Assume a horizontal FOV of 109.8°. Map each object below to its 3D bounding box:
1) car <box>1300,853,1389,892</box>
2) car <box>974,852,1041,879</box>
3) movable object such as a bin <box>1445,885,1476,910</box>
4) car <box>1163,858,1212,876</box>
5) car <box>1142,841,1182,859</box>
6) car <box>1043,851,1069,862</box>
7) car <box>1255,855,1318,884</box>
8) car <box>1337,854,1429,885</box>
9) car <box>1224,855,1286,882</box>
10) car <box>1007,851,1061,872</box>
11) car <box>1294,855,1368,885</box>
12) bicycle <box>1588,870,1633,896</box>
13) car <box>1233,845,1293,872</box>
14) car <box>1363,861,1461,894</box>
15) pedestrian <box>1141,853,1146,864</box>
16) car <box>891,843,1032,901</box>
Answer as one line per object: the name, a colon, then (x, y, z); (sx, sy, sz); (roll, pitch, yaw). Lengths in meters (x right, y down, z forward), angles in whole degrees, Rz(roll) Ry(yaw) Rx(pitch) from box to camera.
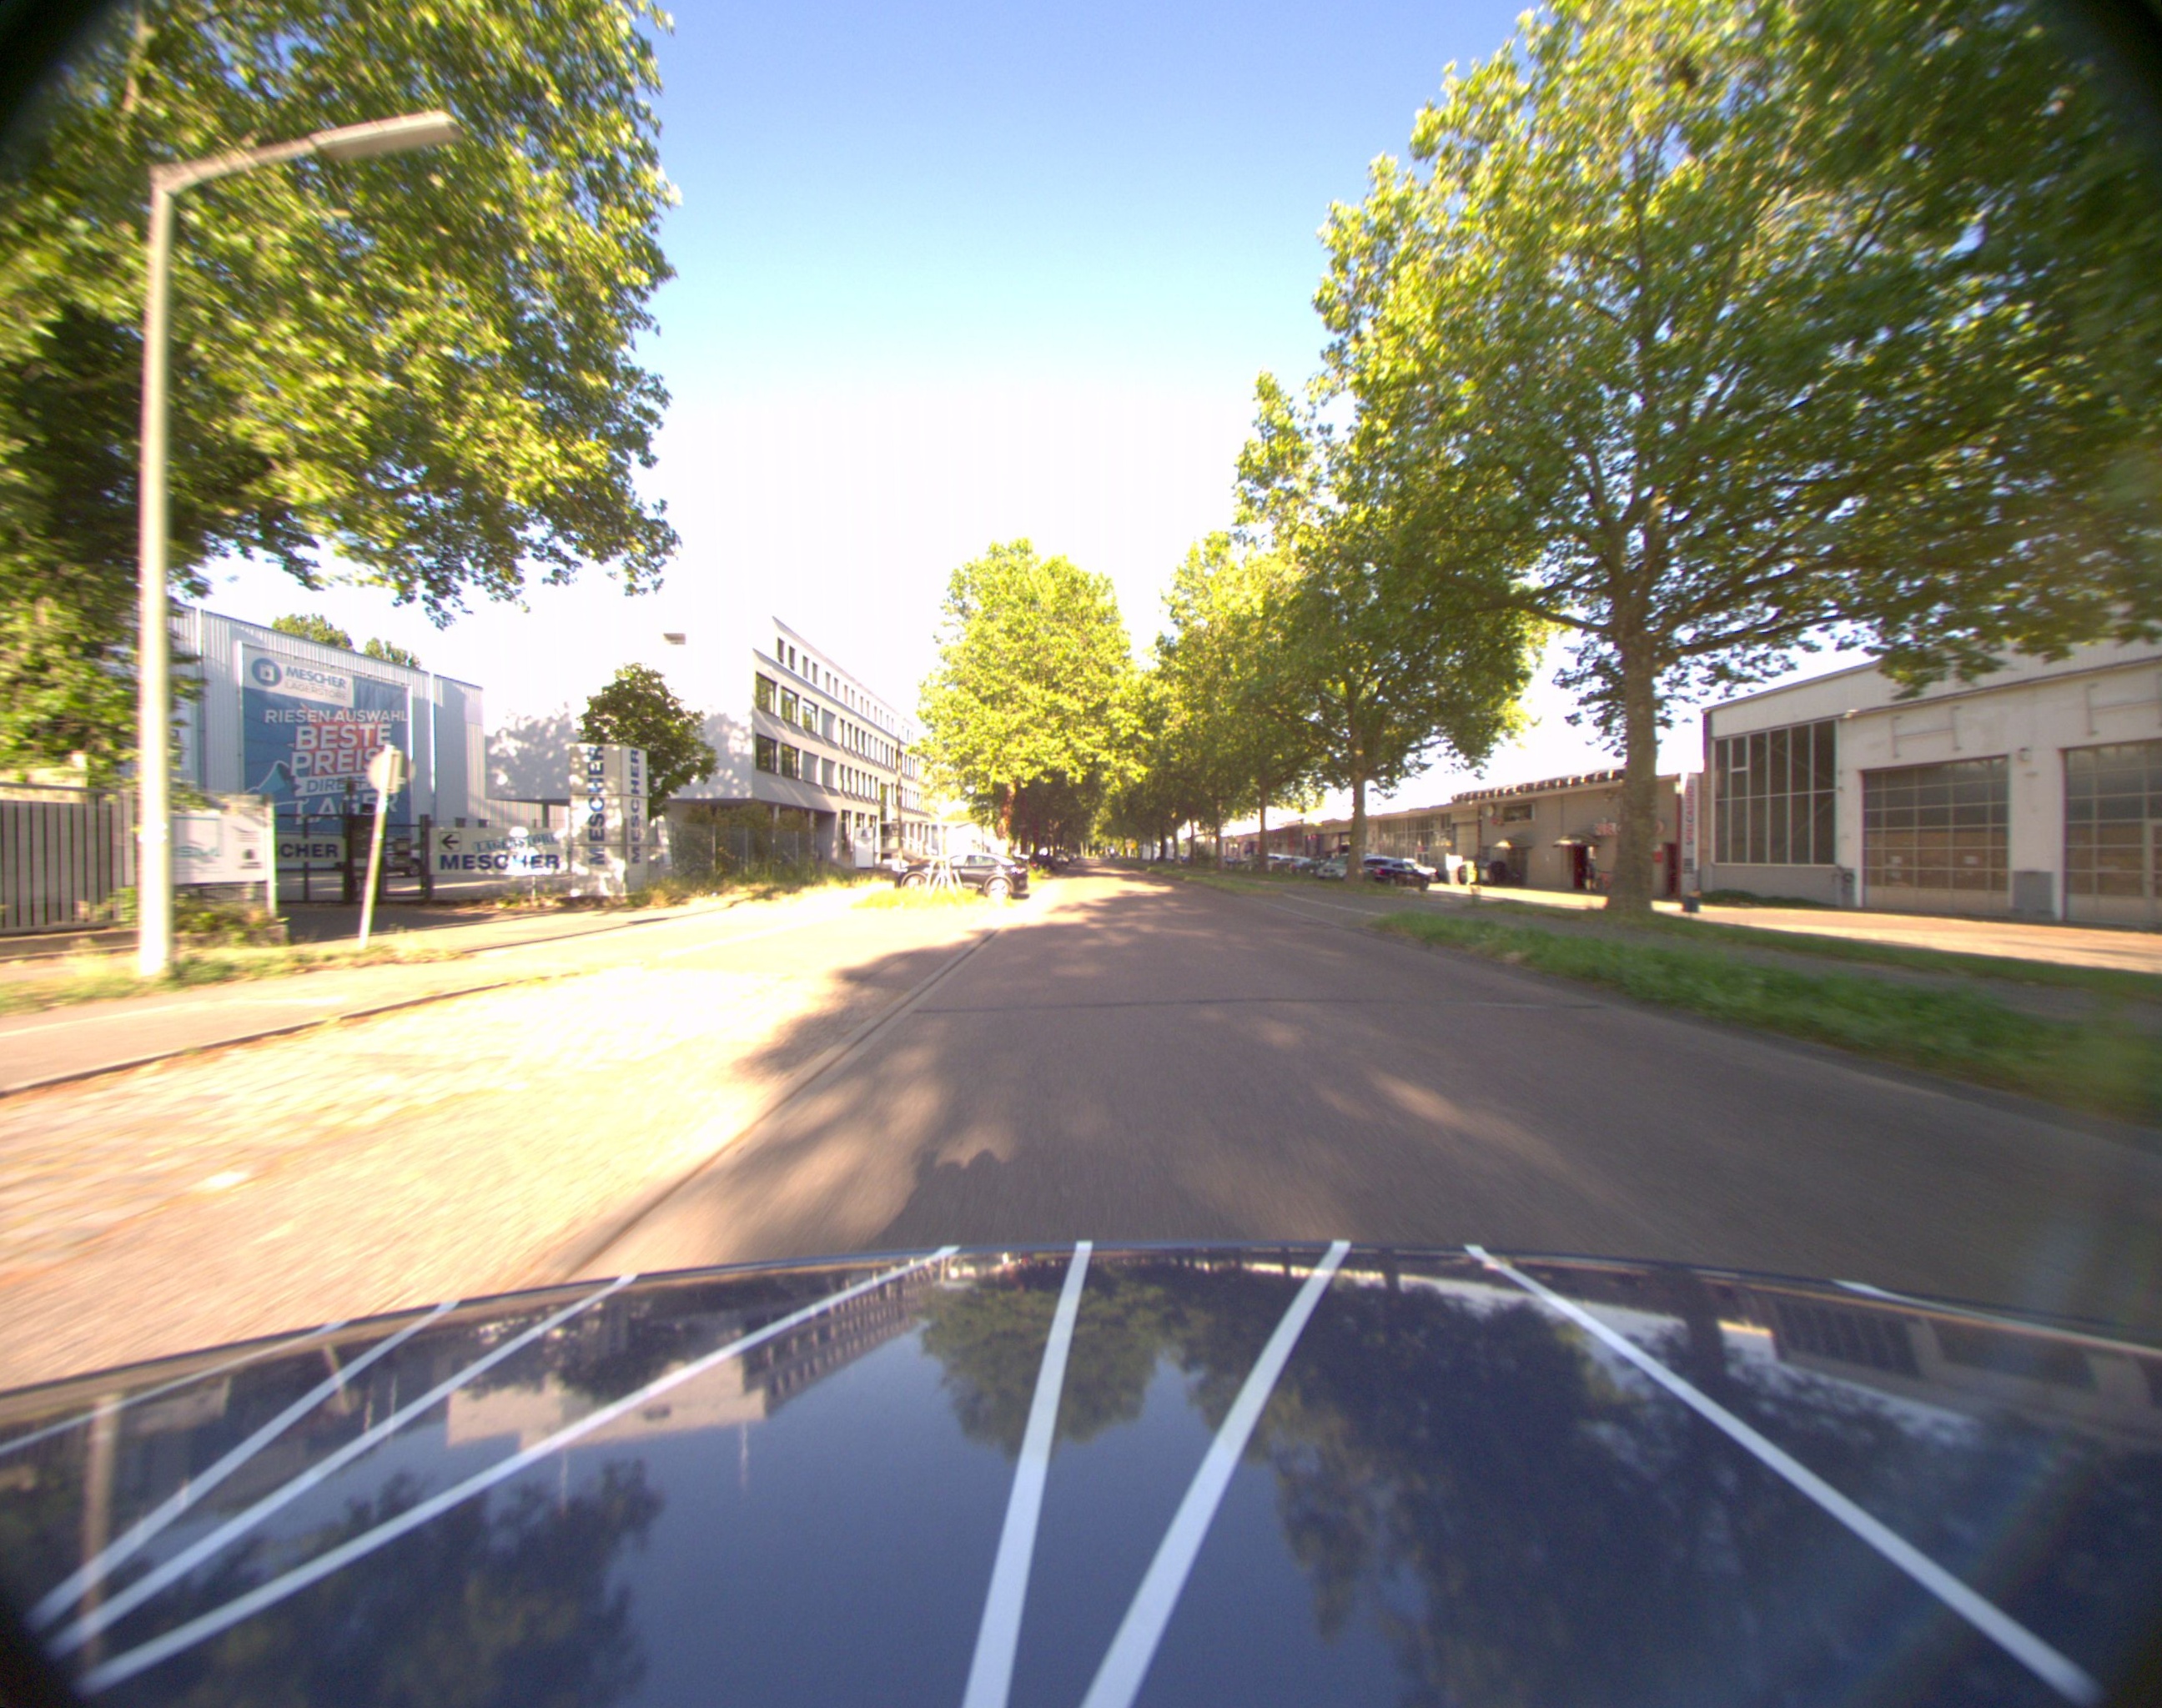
car: (13.129, 0.870, 37.798); (4.492, 1.720, 1.995); (-1, 1, -37)
car: (-4.401, 0.671, 45.870); (3.794, 1.477, 1.860); (2, 1, -1)
movable object such as a bin: (23.089, 2.633, 46.239); (1.059, 1.423, 1.573); (-1, 1, -2)
car: (11.539, 1.414, 82.377); (4.905, 1.749, 1.996); (-1, 1, -23)
car: (14.804, -0.757, 138.567); (6.972, 2.835, 2.595); (4, -2, -28)
car: (-3.844, 0.416, 116.718); (3.944, 1.504, 1.666); (3, 1, 0)
car: (12.768, 0.912, 47.024); (1.994, 1.620, 4.271); (0, 1, 43)
car: (13.737, 0.688, 34.425); (4.494, 1.298, 1.994); (1, 0, -41)
car: (12.280, 0.998, 53.516); (4.006, 1.740, 1.995); (-1, 1, -31)
car: (-3.902, 0.615, 63.731); (4.295, 1.477, 1.860); (4, 1, -1)
car: (14.791, 0.896, 44.876); (4.270, 1.620, 1.995); (-1, 1, -37)
bicycle: (24.674, 1.338, 35.458); (0.537, 1.052, 2.159); (-6, 0, 2)
car: (12.313, 0.293, 51.258); (1.994, 1.689, 4.271); (0, 1, 44)
car: (13.909, 0.954, 31.861); (4.494, 1.298, 1.994); (1, 0, -41)
pedestrian: (10.147, 0.718, 122.987); (0.805, 1.762, 0.940); (-1, 1, 2)
car: (-4.033, 0.603, 26.288); (4.582, 1.705, 1.942); (3, 0, -3)
